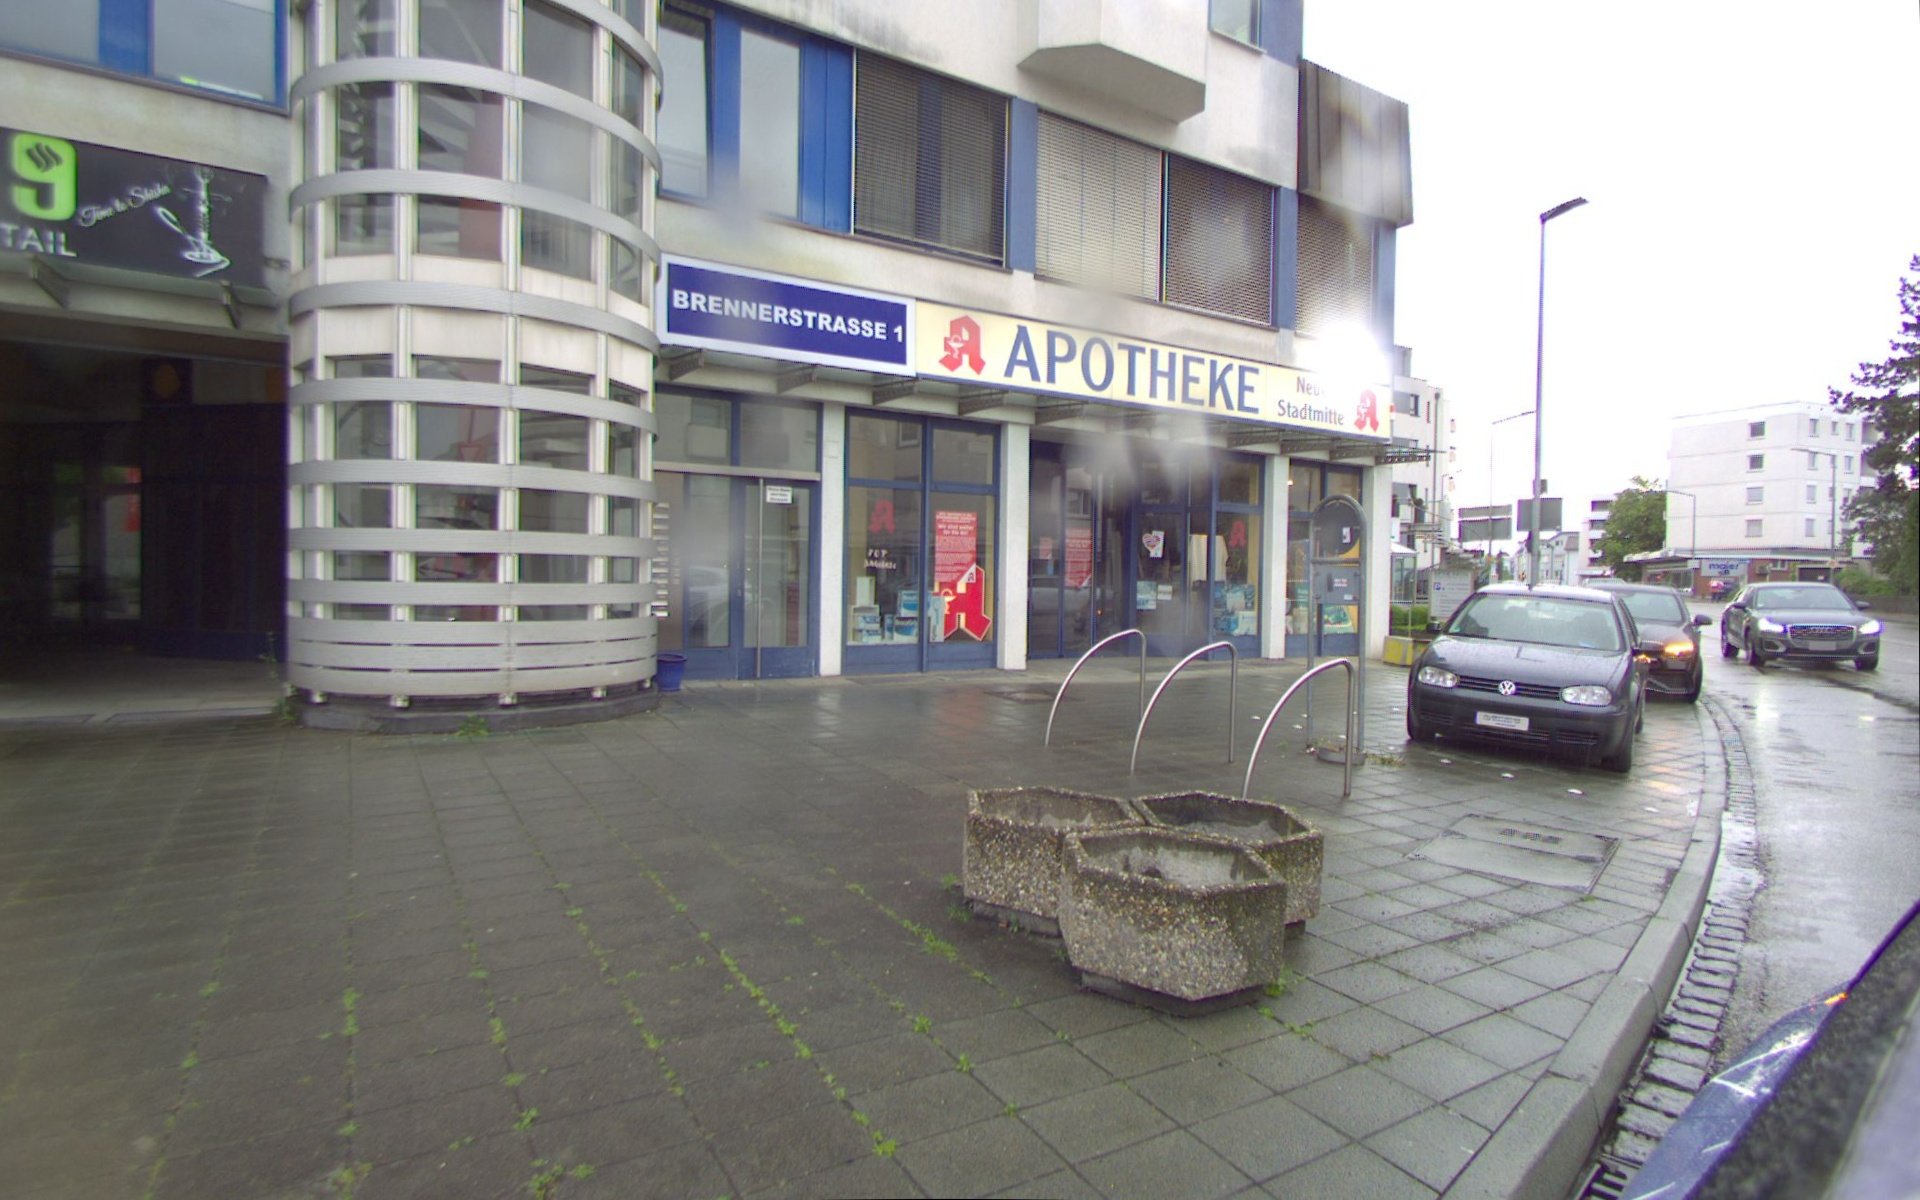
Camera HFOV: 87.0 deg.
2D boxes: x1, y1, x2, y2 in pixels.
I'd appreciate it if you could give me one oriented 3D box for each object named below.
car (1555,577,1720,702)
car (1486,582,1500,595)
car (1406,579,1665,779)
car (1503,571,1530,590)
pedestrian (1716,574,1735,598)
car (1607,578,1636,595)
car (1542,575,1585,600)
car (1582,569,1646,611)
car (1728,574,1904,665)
[{"bbox_3d":[9.426,0.423,14.019,1.650,1.442,3.949,2,2,36],"label":"car"},{"bbox_3d":[73.713,-1.614,139.998,1.728,1.660,3.963,1,2,27],"label":"car"},{"bbox_3d":[5.493,0.542,9.438,1.646,1.388,3.683,5,4,36],"label":"car"},{"bbox_3d":[48.297,-1.677,87.814,1.982,1.635,3.960,-1,1,29],"label":"car"},{"bbox_3d":[56.707,-1.027,74.984,0.845,1.757,0.831,1,2,20],"label":"pedestrian"},{"bbox_3d":[61.243,-1.260,93.738,1.855,1.454,3.704,1,2,28],"label":"car"},{"bbox_3d":[36.627,-0.803,61.499,1.783,1.385,3.941,1,3,25],"label":"car"},{"bbox_3d":[26.020,-0.414,40.383,1.718,1.547,4.024,2,1,27],"label":"car"},{"bbox_3d":[15.718,0.262,18.818,1.720,1.462,4.007,1,2,29],"label":"car"}]
